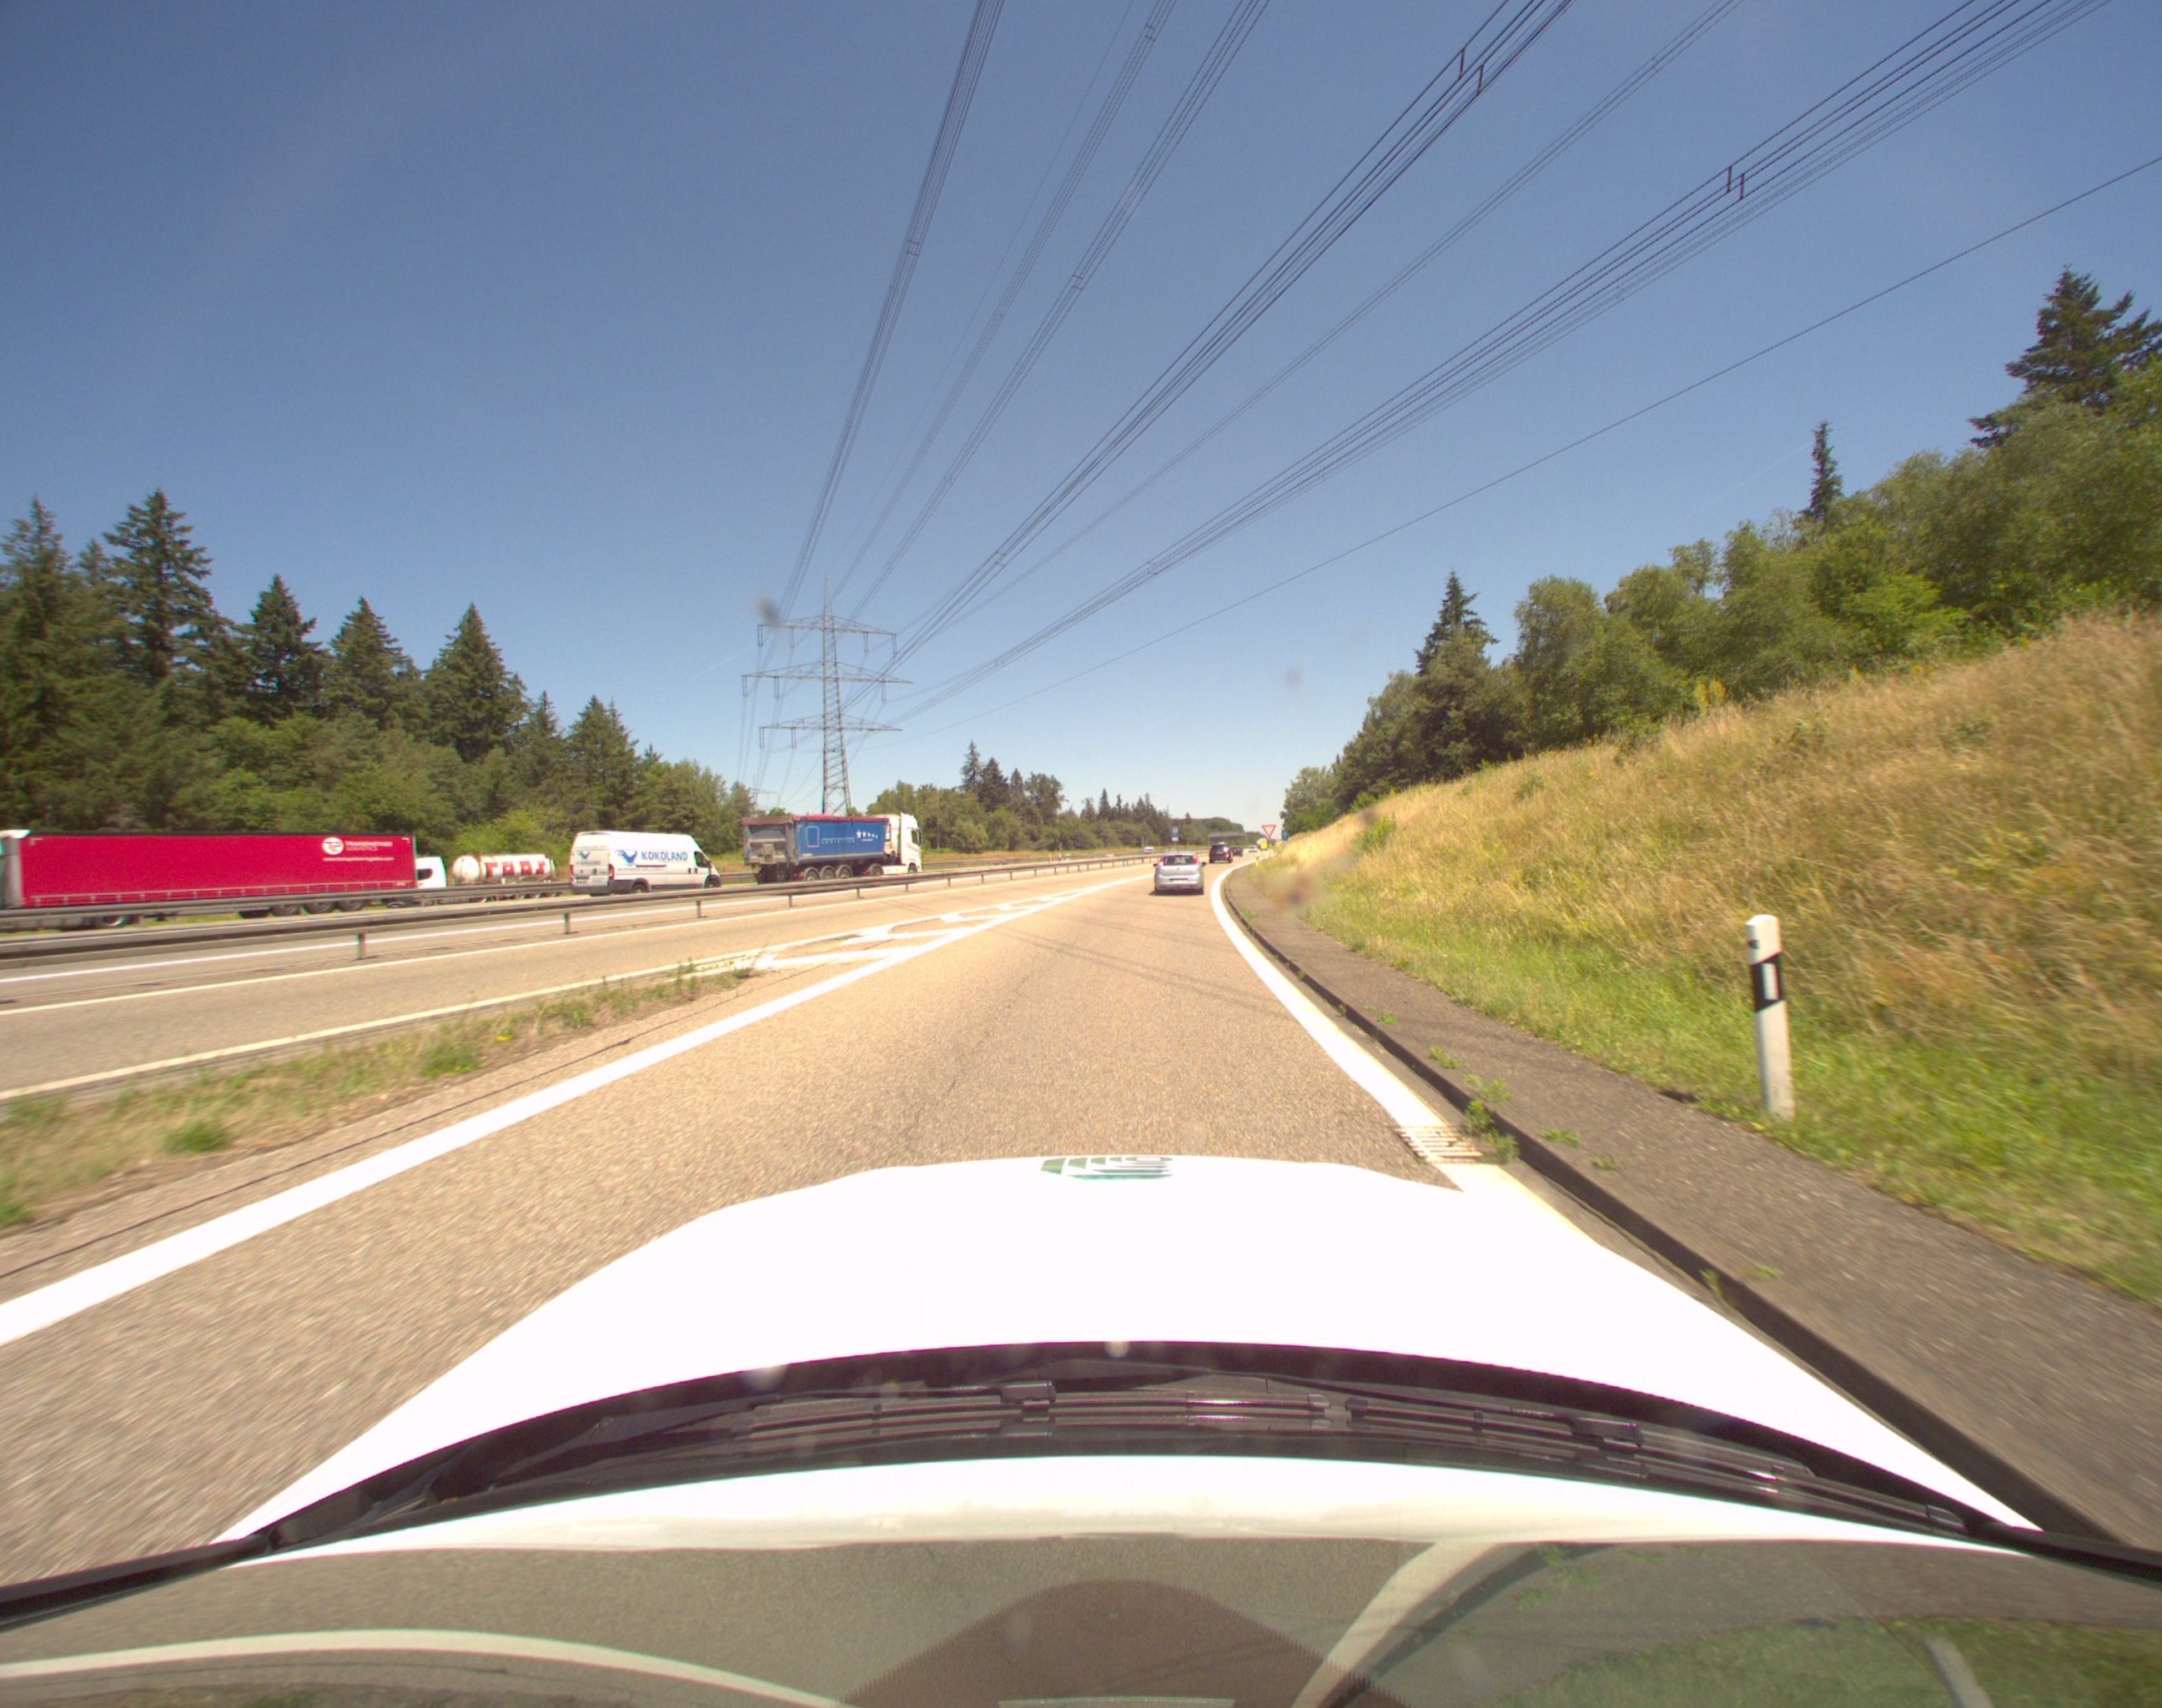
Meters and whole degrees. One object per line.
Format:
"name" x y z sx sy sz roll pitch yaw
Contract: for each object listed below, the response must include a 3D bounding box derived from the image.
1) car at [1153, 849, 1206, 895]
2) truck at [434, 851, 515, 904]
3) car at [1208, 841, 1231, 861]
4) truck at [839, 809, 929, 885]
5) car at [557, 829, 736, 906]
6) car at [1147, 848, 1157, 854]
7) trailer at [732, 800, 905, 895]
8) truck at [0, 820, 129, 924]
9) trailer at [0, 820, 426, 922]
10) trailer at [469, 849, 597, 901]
"car" 3.440 0.574 28.396 1.697 1.481 3.404 -1 0 7
"truck" -47.001 1.775 63.184 2.746 3.797 4.018 -2 1 17
"car" 12.370 -0.220 72.536 1.694 1.676 3.410 -2 -1 13
"truck" -10.477 -0.336 43.674 2.737 3.807 4.639 -2 -1 14
"car" -17.699 0.540 33.801 2.222 2.833 7.083 -2 -1 16
"car" 19.802 -0.805 227.108 1.979 1.783 4.015 -2 -1 14
"trailer" -11.841 -0.283 38.242 2.751 3.807 9.923 -2 0 14
"truck" -40.356 0.678 30.332 2.522 3.797 5.692 -2 1 16
"trailer" -38.370 0.483 37.413 2.522 3.797 13.800 -2 1 16
"trailer" -45.512 1.642 68.105 2.751 3.797 8.977 -2 1 17
